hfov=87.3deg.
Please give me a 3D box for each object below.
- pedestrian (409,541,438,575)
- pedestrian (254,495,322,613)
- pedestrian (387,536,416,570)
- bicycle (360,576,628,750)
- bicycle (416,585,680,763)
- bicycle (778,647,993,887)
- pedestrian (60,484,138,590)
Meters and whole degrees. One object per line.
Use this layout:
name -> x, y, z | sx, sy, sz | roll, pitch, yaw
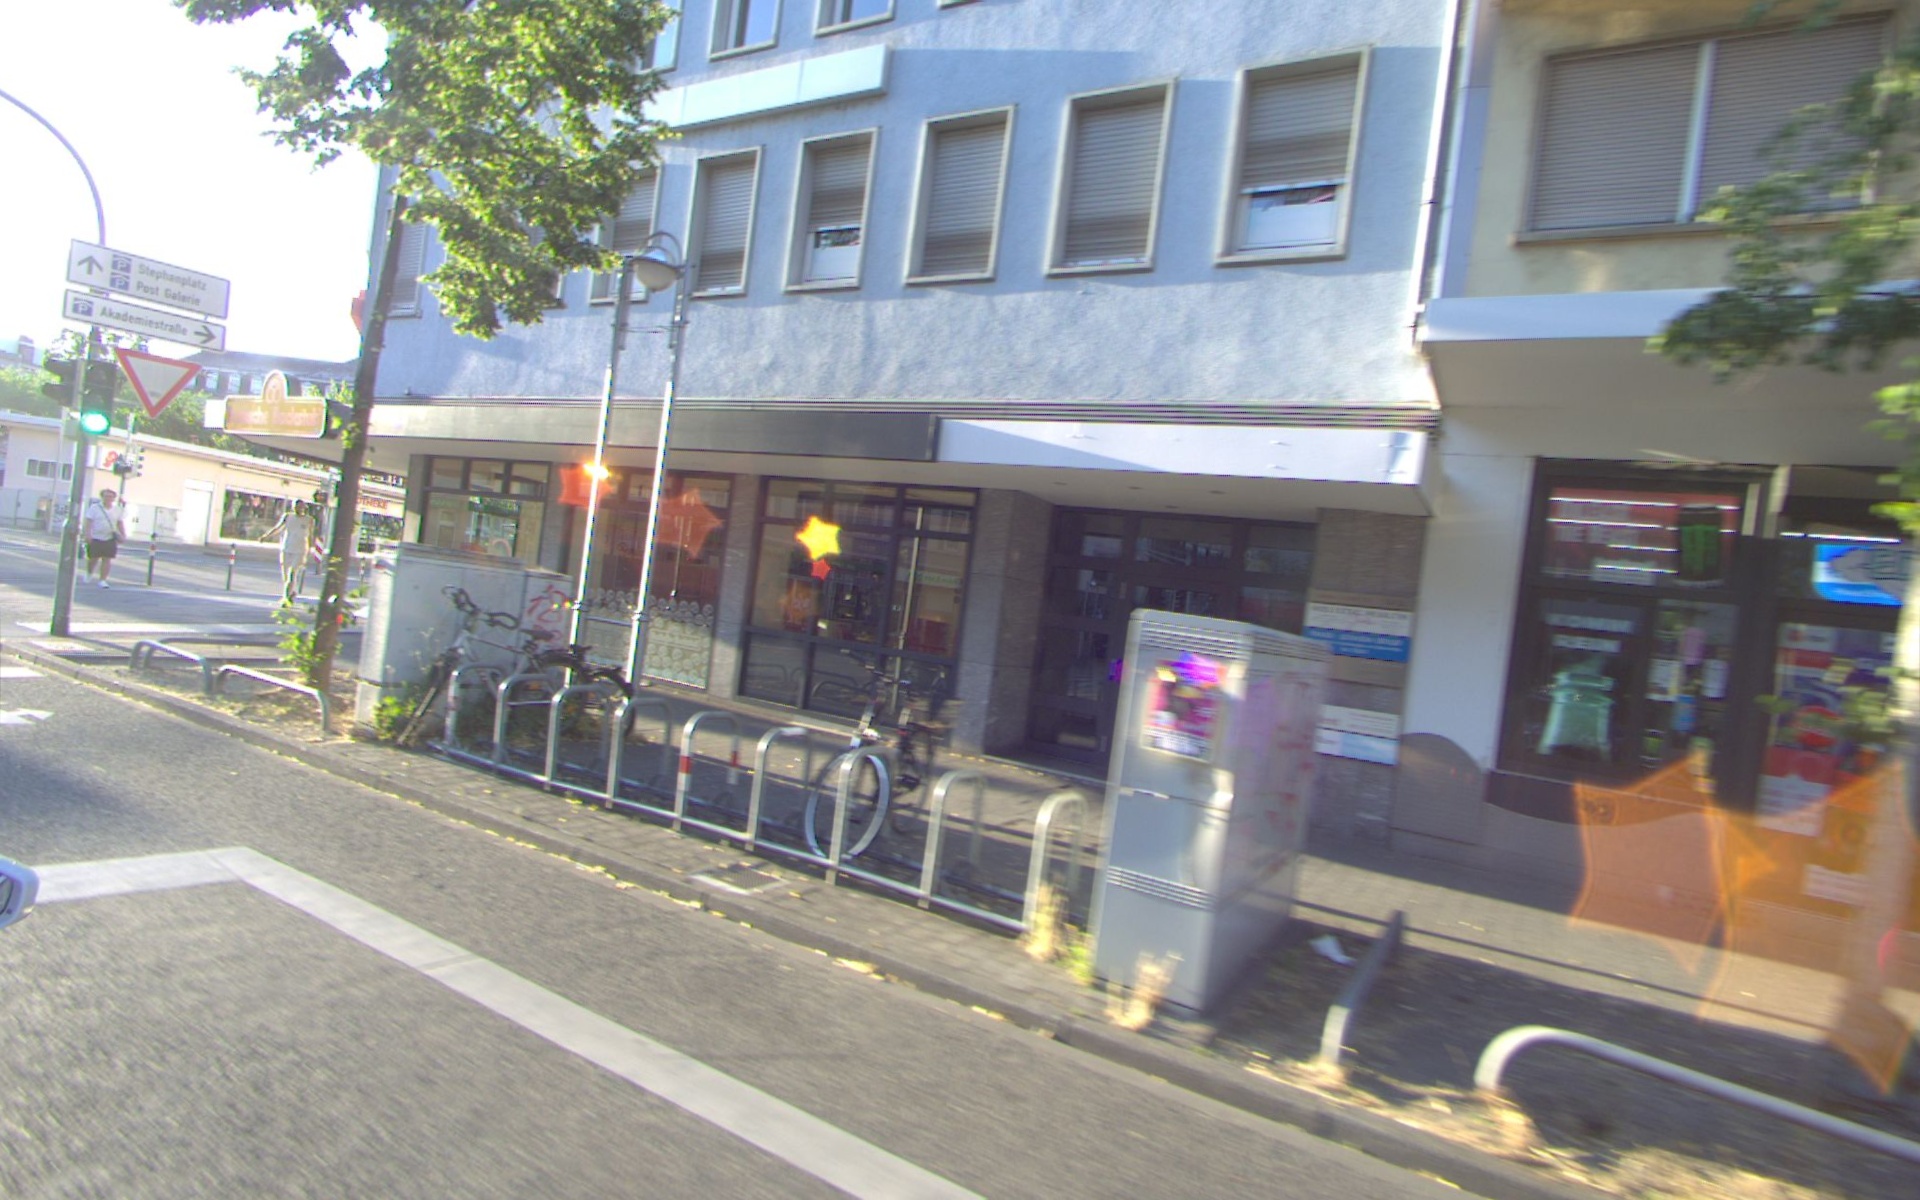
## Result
pedestrian -> -28.212, -2.207, 52.896 | 0.791, 1.633, 0.994 | 6, 1, 7
pedestrian -> -11.603, -0.795, 17.396 | 0.797, 1.911, 0.986 | 5, 1, -31
pedestrian -> -29.323, -2.453, 52.863 | 0.791, 1.633, 0.994 | 6, 1, 7
bicycle -> -3.676, 0.525, 8.130 | 0.462, 1.218, 1.915 | 7, 0, 32
bicycle -> -3.190, 0.597, 8.005 | 0.462, 1.218, 1.915 | 7, 0, 32
bicycle -> -0.382, 0.944, 6.309 | 0.461, 1.218, 1.919 | 7, 0, 20
pedestrian -> -15.213, -1.106, 17.804 | 0.797, 1.748, 0.986 | 5, 1, -31
